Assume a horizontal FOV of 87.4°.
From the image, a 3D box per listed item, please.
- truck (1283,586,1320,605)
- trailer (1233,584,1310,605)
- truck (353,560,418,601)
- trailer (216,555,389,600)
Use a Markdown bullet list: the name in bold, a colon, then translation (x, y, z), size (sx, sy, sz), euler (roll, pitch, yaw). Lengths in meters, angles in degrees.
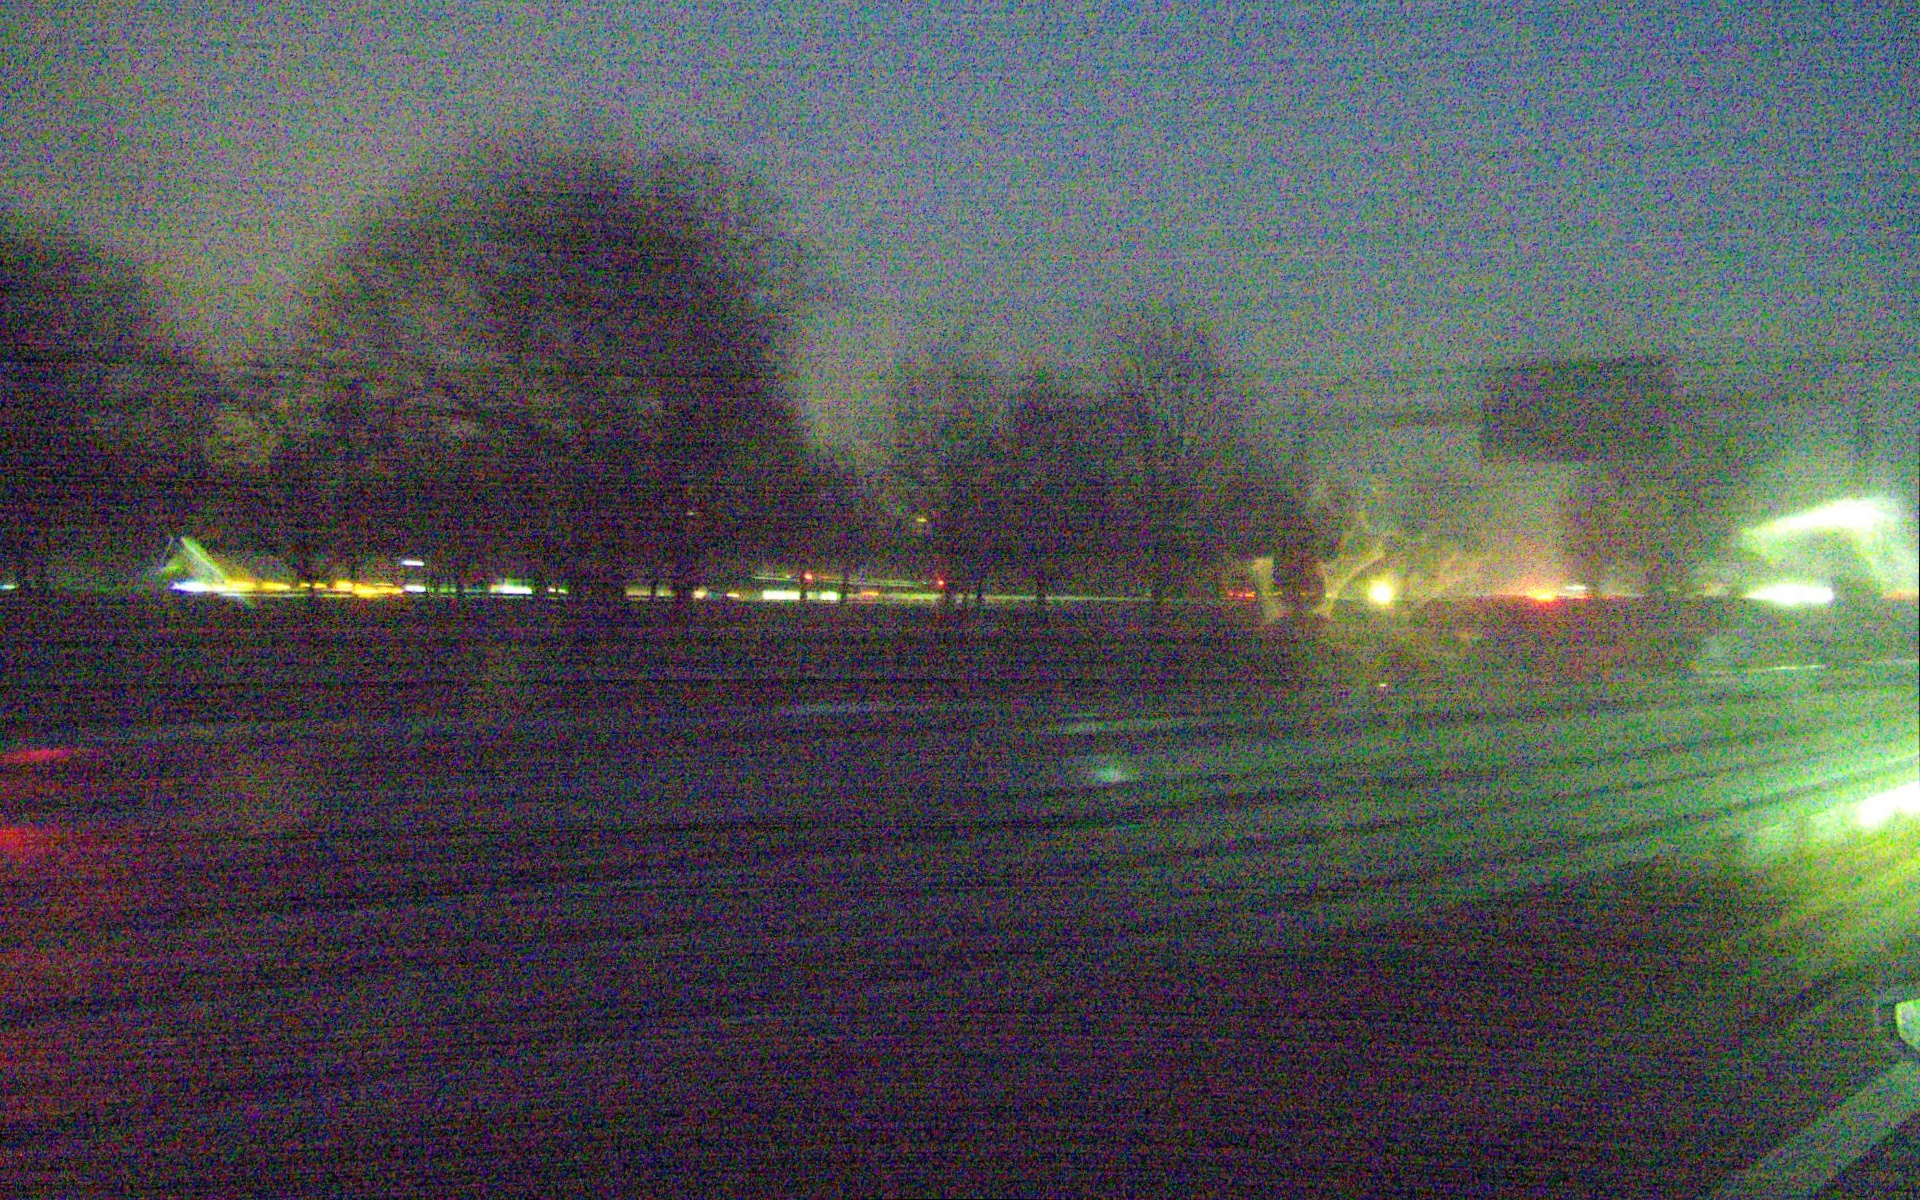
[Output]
- **truck**: translation (52.107, -0.726, 153.203), size (4.694, 2.726, 2.667), euler (1, 2, -26)
- **trailer**: translation (46.745, -0.838, 150.556), size (12.688, 2.736, 2.678), euler (1, 2, -26)
- **truck**: translation (-56.368, -1.875, 98.707), size (5.389, 3.761, 2.577), euler (1, 3, -28)
- **trailer**: translation (-62.242, -2.073, 95.601), size (13.479, 3.775, 2.581), euler (1, 3, -28)
